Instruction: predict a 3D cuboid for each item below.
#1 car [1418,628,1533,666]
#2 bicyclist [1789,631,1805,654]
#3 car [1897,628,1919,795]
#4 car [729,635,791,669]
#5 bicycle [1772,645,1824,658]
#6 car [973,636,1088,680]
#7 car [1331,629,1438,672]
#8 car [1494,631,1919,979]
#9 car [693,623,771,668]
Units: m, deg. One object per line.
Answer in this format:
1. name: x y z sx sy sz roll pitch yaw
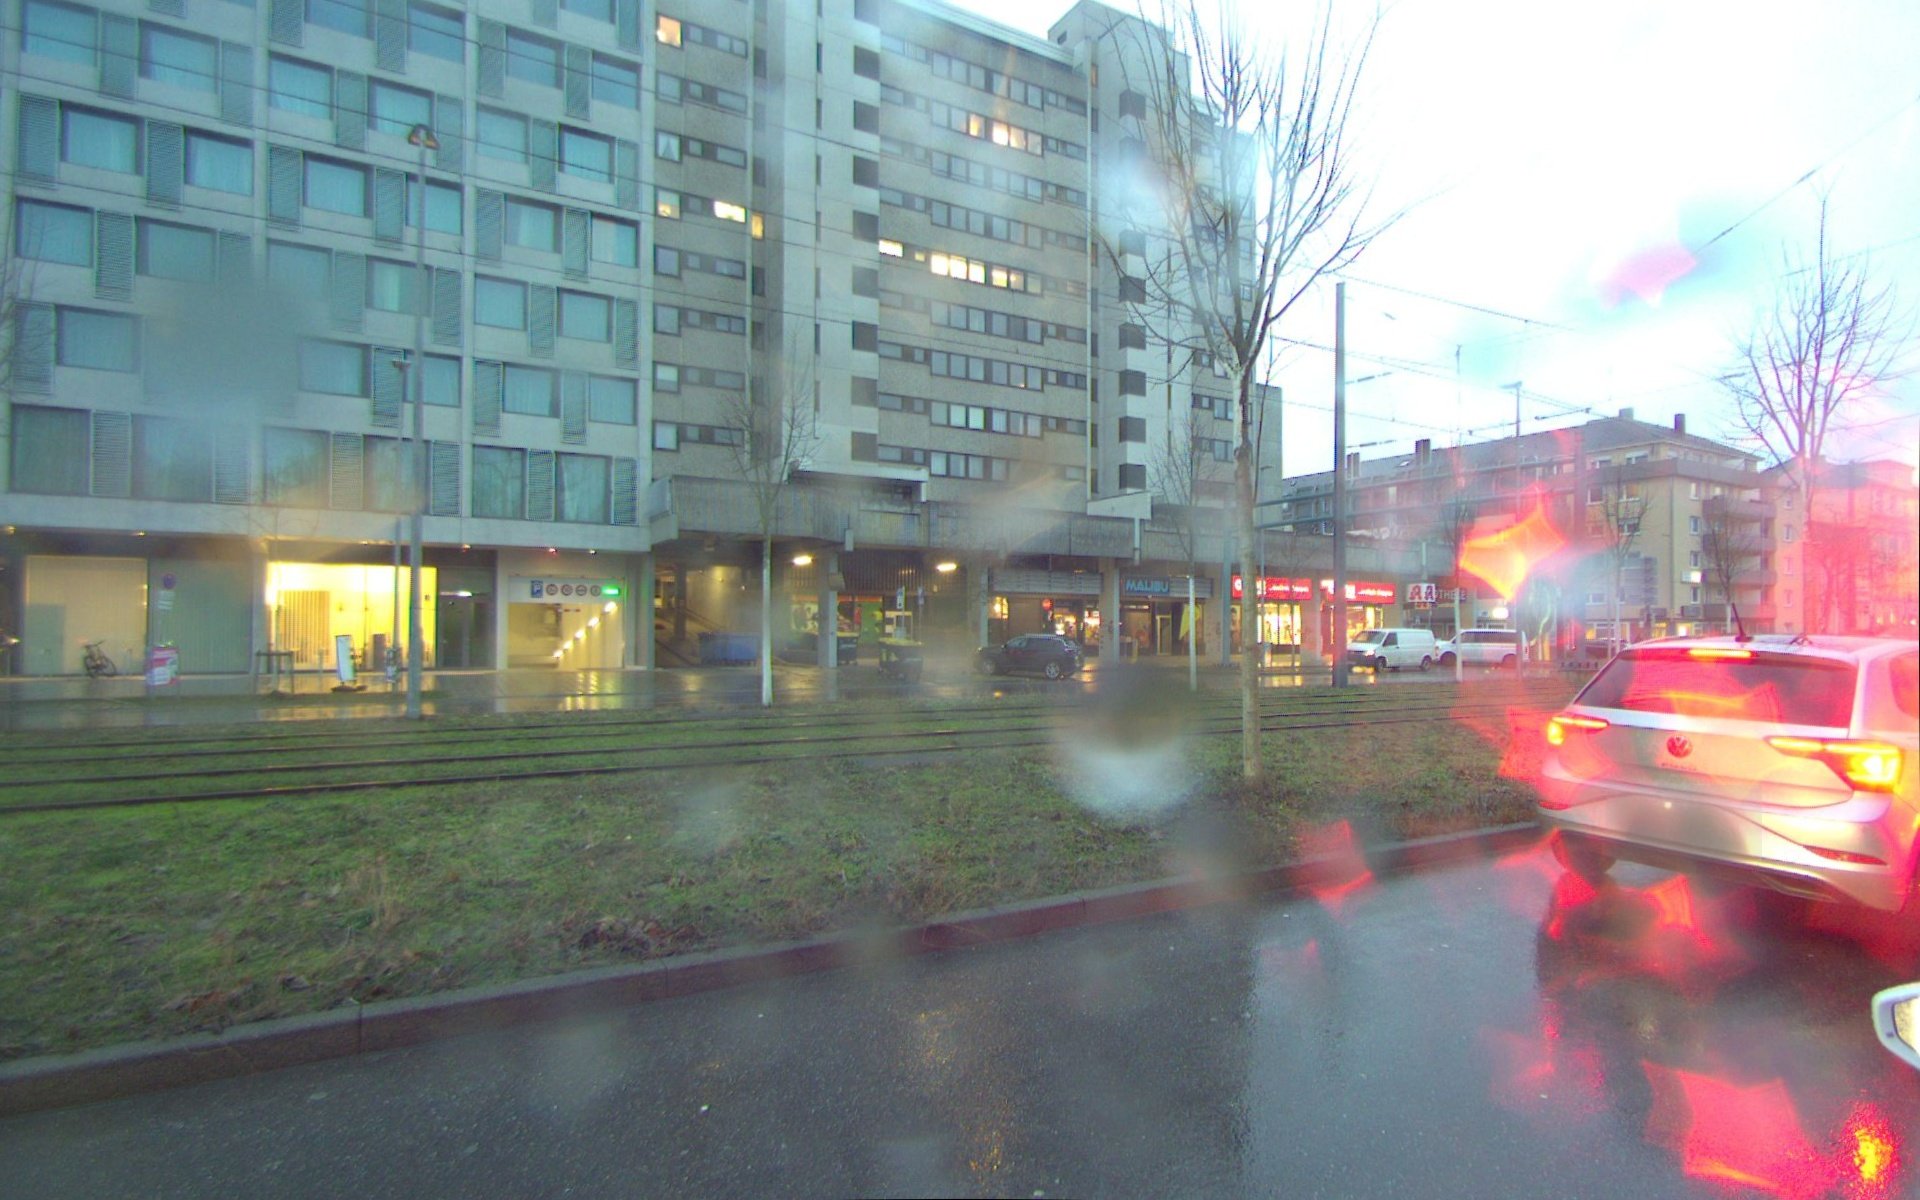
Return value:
1. car: 27.062 2.431 52.901 5.059 1.937 2.001 0 -2 15
2. bicyclist: 58.792 2.979 70.576 0.777 1.600 0.636 1 0 33
3. car: 10.580 1.019 9.159 4.562 1.424 1.837 2 -1 -31
4. car: -8.745 2.247 43.766 1.580 1.377 3.411 1 -2 -32
5. bicycle: 58.837 3.612 70.535 2.731 0.834 0.636 1 -1 34
6. car: 2.711 2.187 38.484 3.925 1.405 1.935 2 0 25
7. car: 19.975 2.332 47.224 5.102 1.937 1.985 1 -2 -30
8. car: 5.142 0.922 5.945 3.936 1.389 1.753 2 -1 -31
9. car: -9.168 1.774 40.179 1.709 1.718 4.336 1 -2 -32
